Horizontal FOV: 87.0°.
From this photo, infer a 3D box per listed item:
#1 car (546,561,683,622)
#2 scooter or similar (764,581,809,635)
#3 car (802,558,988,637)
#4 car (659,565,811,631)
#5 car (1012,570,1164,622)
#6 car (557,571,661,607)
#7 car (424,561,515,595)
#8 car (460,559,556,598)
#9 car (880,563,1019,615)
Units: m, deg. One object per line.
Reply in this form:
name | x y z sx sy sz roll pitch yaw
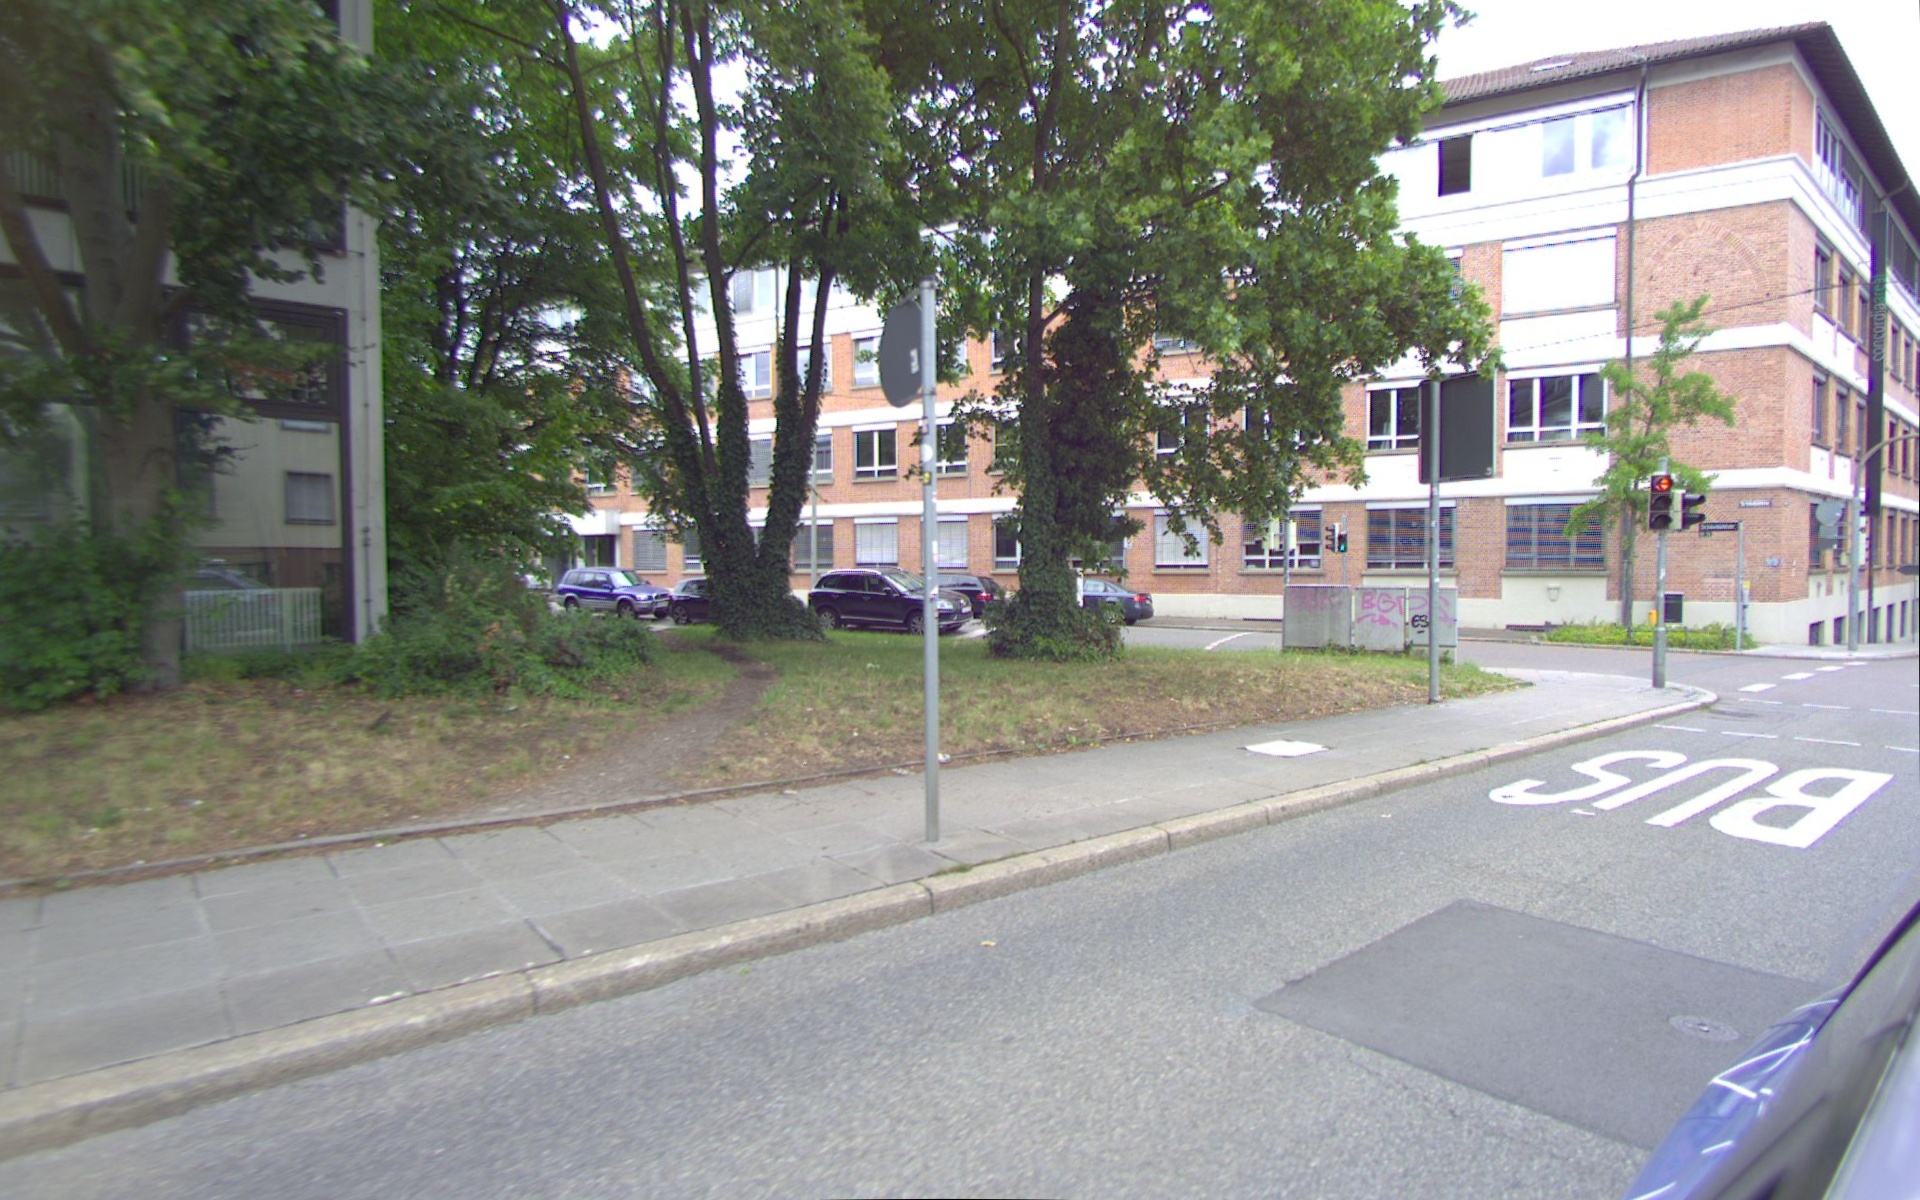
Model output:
car | -10.973 -0.325 32.115 4.274 1.627 1.681 2 7 30
scooter or similar | -4.153 0.184 24.179 1.095 1.245 0.338 2 1 30
car | -1.743 -0.131 26.845 4.618 1.746 1.946 2 7 30
car | -6.594 -0.123 29.595 4.274 1.627 1.730 2 7 30
car | 4.018 -0.146 31.868 4.380 1.423 1.755 2 -1 28
car | -14.769 -0.470 42.551 4.222 1.338 1.703 2 -1 28
car | -26.967 -1.189 55.819 1.916 1.568 4.223 2 -1 25
car | -20.392 -0.985 45.611 4.222 1.568 1.703 2 -1 28
car | -0.380 -0.371 34.147 4.358 1.528 1.755 2 -1 28
